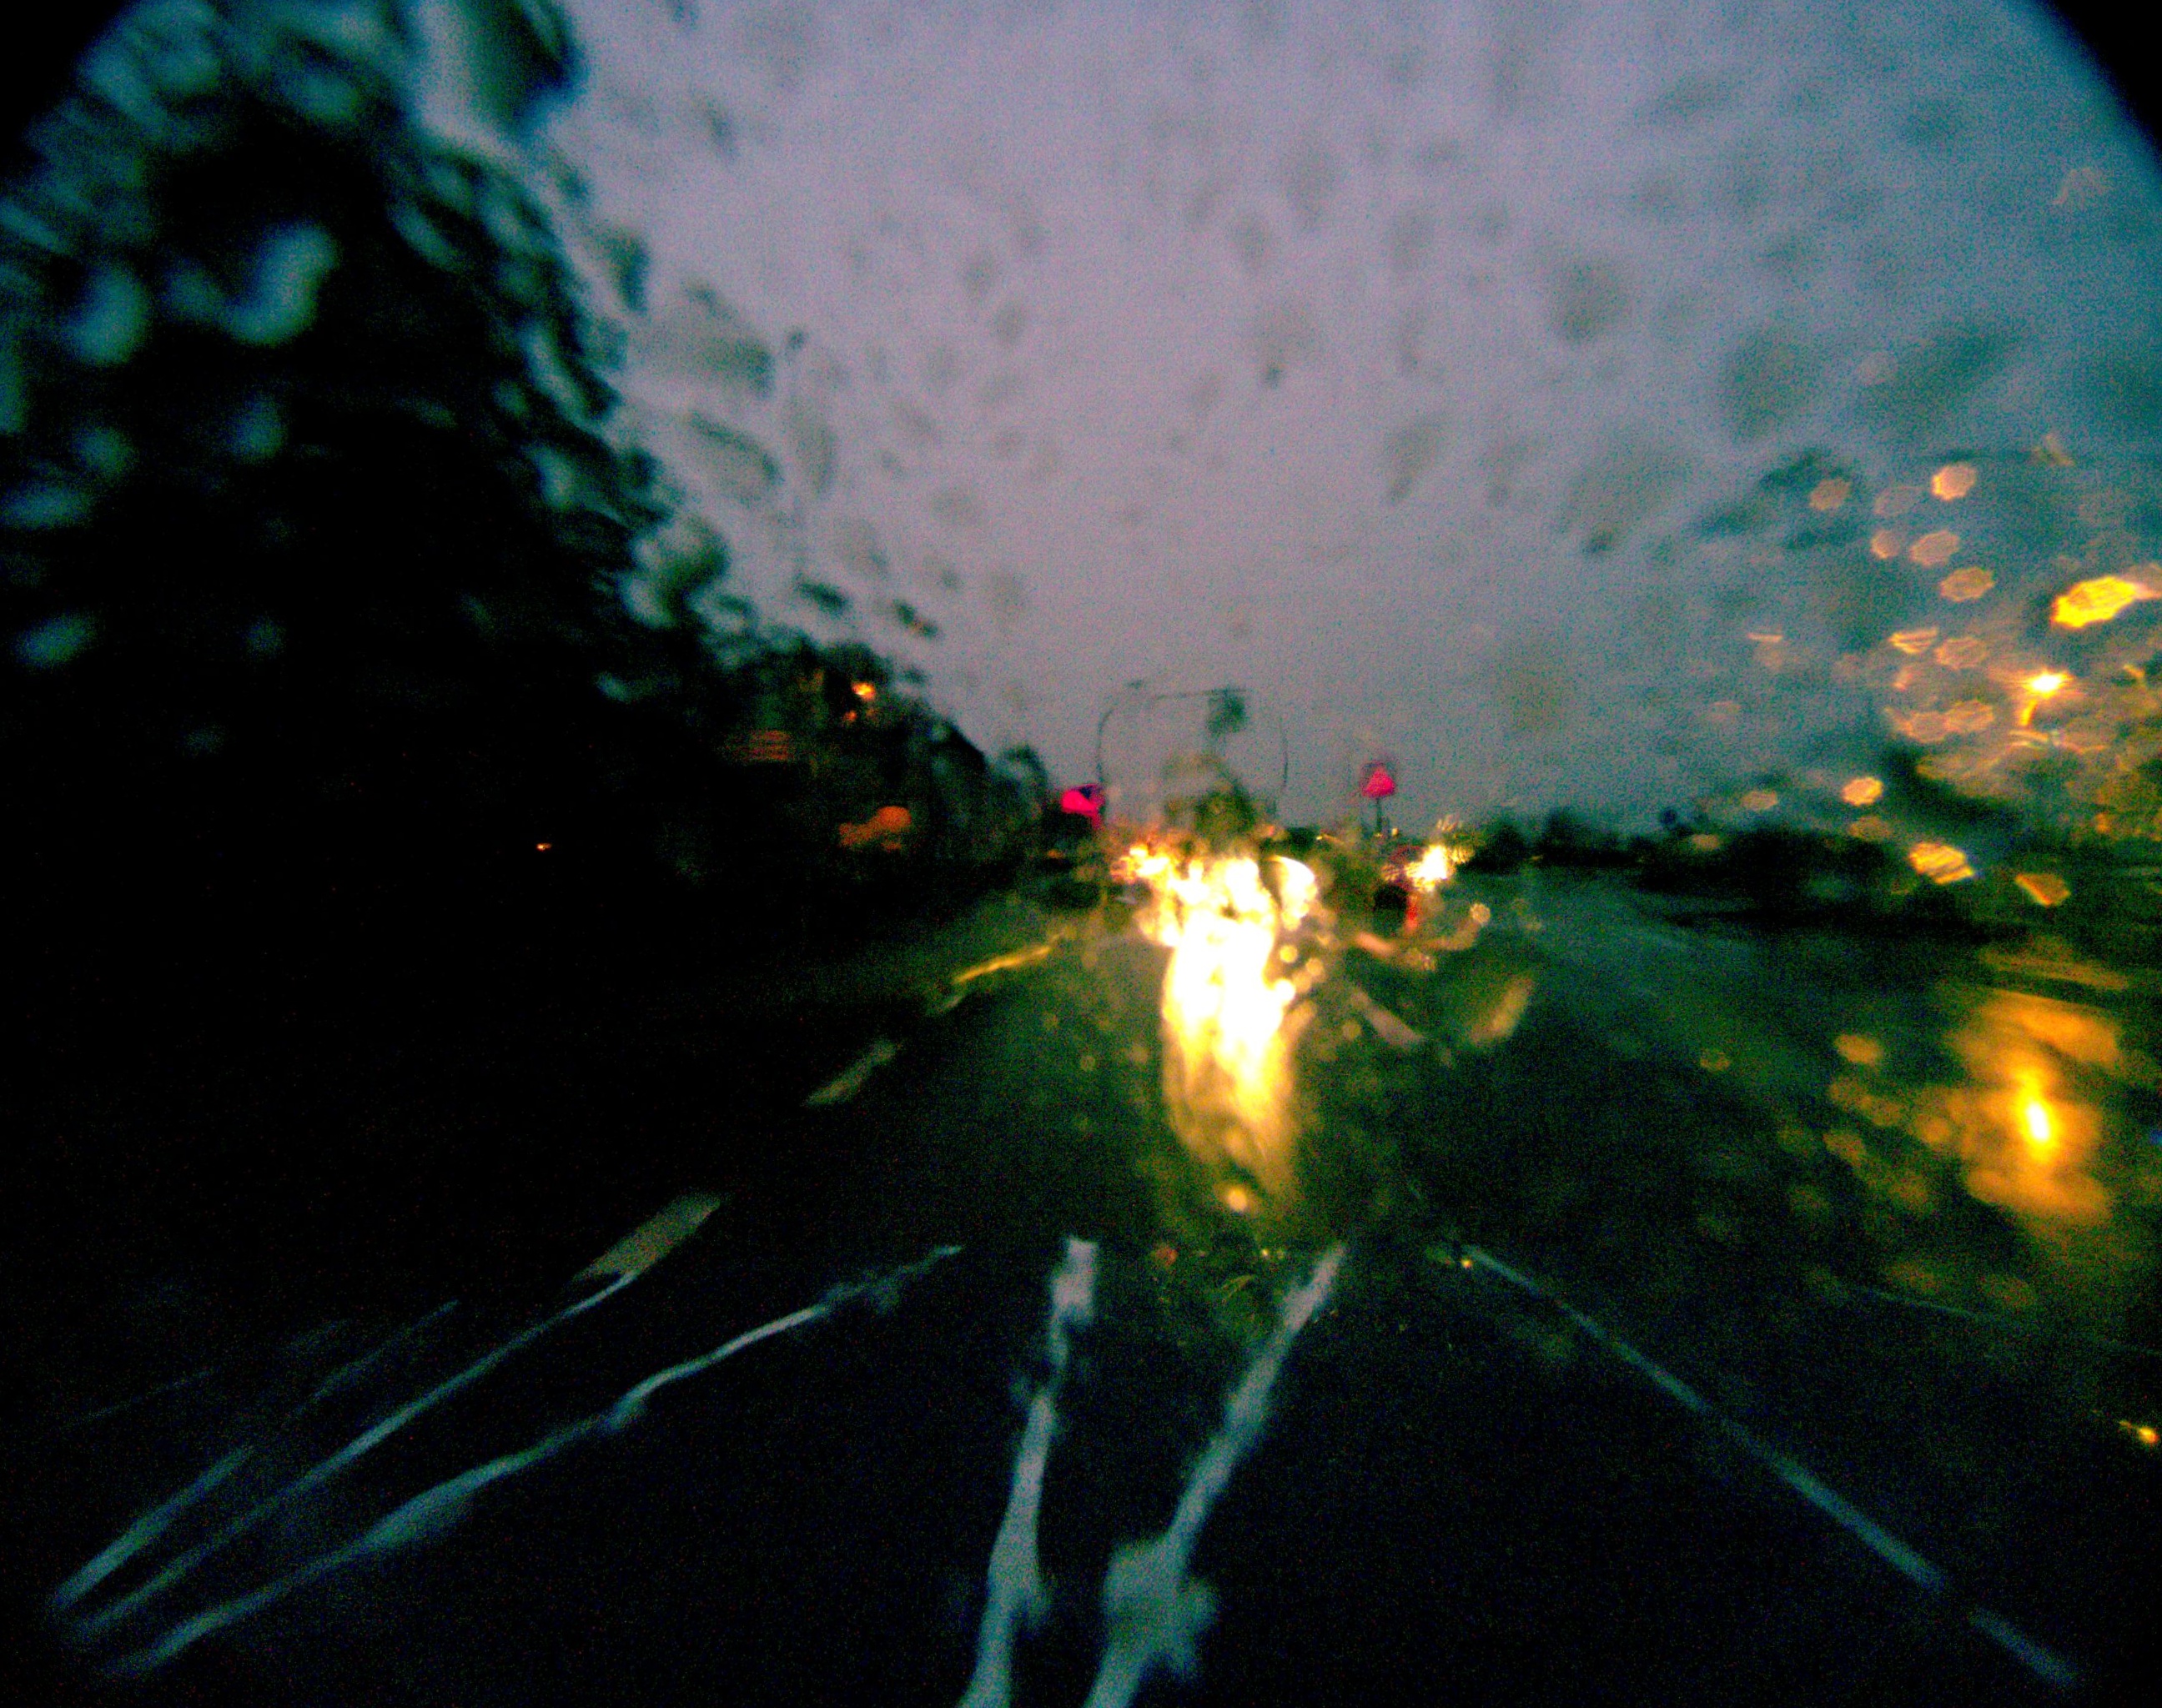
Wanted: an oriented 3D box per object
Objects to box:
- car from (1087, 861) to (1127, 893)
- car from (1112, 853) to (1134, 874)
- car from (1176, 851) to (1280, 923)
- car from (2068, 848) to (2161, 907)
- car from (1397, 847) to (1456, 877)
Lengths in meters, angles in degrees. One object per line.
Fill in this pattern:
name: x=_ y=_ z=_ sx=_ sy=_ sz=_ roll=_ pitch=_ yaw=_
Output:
car: x=1.315 y=1.086 z=36.975 sx=1.775 sy=1.422 sz=3.798 roll=-2 pitch=0 yaw=4
car: x=3.857 y=0.855 z=69.805 sx=1.947 sy=1.795 sz=4.173 roll=-1 pitch=0 yaw=3
car: x=3.921 y=0.751 z=19.667 sx=1.773 sy=1.632 sz=4.428 roll=0 pitch=0 yaw=23
car: x=29.258 y=0.632 z=19.318 sx=1.690 sy=1.528 sz=4.778 roll=0 pitch=1 yaw=-17
car: x=17.918 y=0.376 z=39.318 sx=1.994 sy=1.464 sz=4.008 roll=-1 pitch=0 yaw=37
